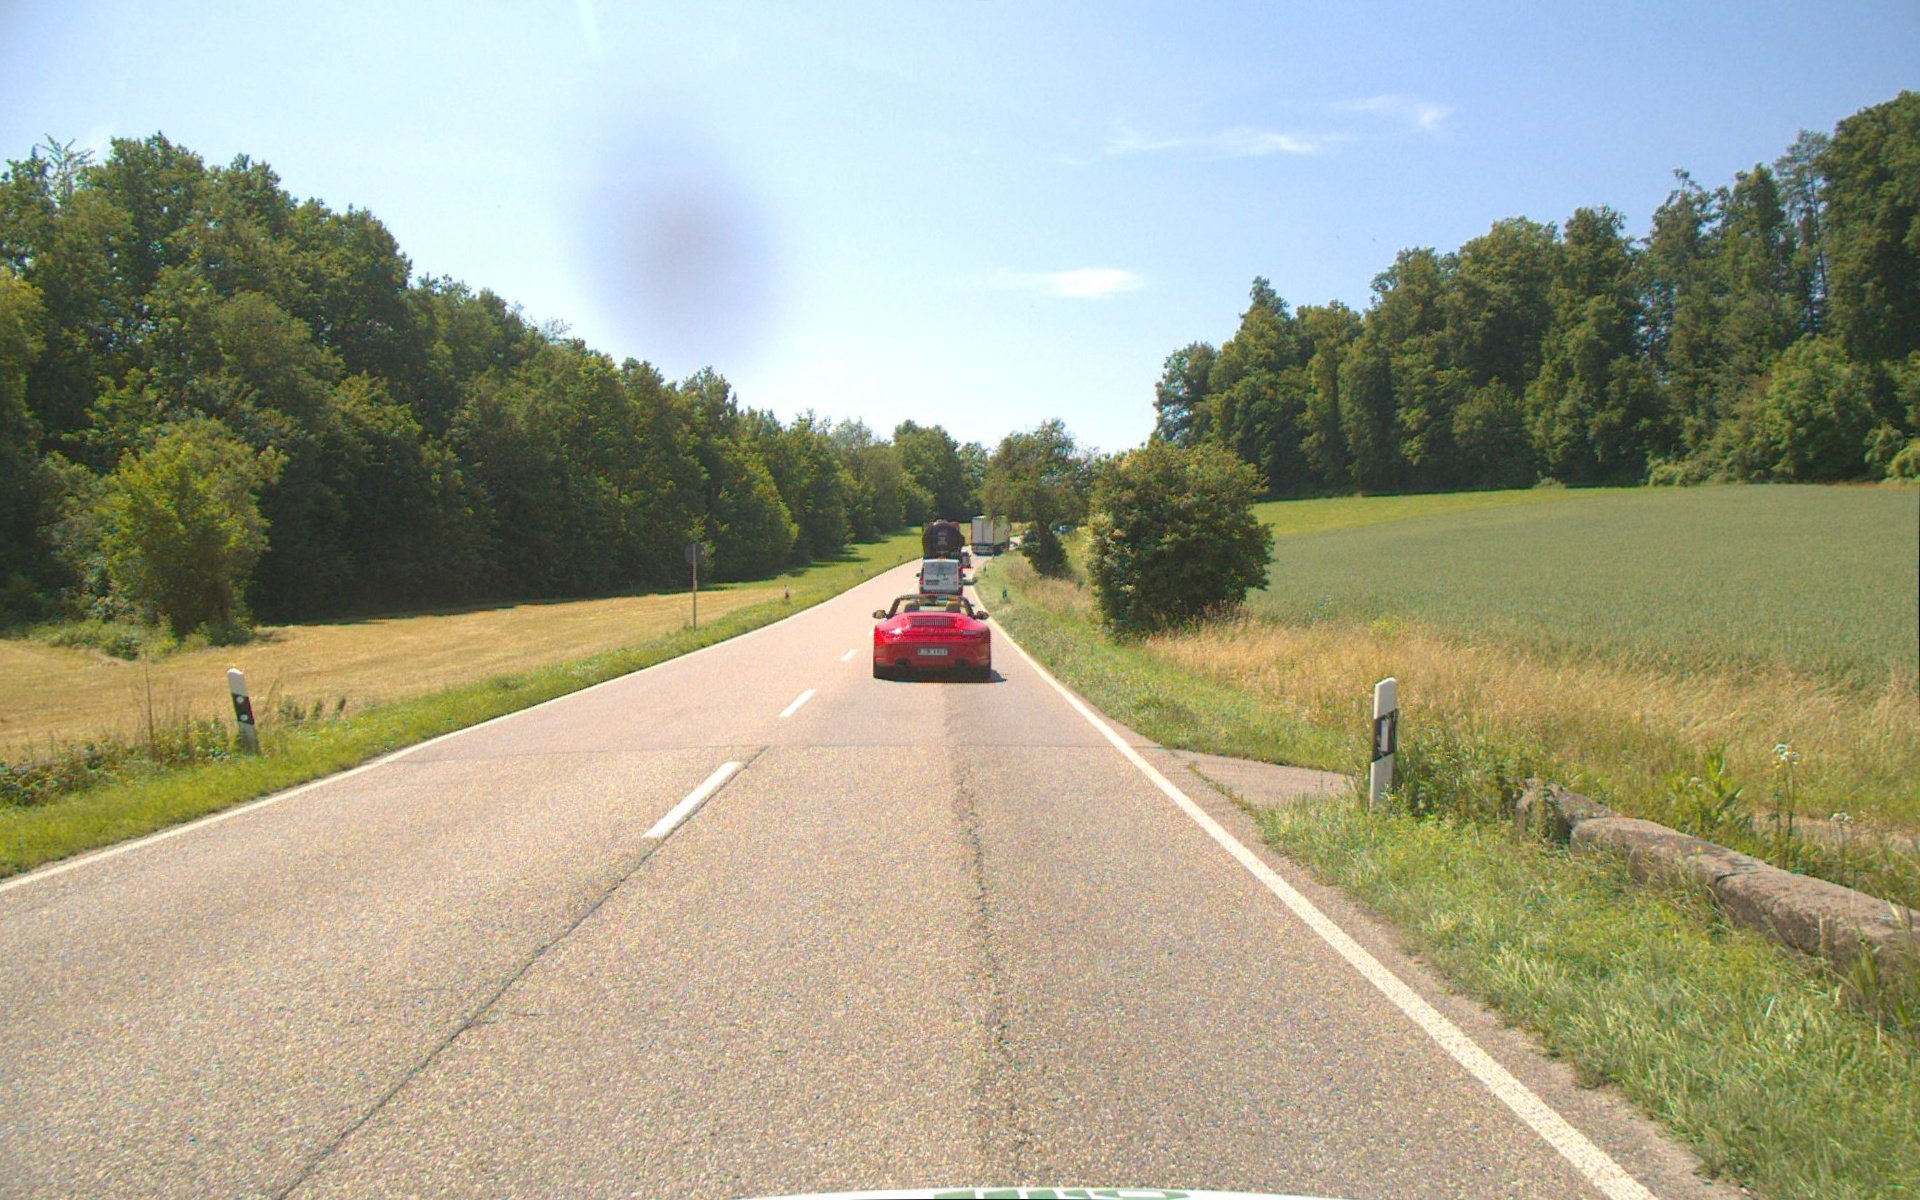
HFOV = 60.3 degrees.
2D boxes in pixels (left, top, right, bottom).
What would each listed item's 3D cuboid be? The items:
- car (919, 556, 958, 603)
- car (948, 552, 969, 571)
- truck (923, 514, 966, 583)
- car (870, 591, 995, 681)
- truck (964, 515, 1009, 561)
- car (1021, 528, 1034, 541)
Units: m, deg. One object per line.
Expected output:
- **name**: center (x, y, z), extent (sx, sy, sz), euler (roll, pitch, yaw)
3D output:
- **car**: center (-0.916, -0.907, 70.919), extent (1.644, 1.933, 4.010), euler (0, 2, -1)
- **car**: center (-0.133, -3.480, 148.715), extent (1.793, 1.539, 4.193), euler (1, 3, 1)
- **truck**: center (-1.077, -3.362, 107.555), extent (2.355, 4.119, 12.548), euler (-3, 2, -1)
- **car**: center (-0.429, 0.525, 26.528), extent (1.844, 1.277, 4.009), euler (0, 1, -1)
- **truck**: center (3.074, -7.025, 185.494), extent (3.646, 4.740, 12.046), euler (0, 4, 8)
- **car**: center (9.113, -8.804, 221.996), extent (1.662, 1.522, 3.714), euler (-3, 3, 3)
